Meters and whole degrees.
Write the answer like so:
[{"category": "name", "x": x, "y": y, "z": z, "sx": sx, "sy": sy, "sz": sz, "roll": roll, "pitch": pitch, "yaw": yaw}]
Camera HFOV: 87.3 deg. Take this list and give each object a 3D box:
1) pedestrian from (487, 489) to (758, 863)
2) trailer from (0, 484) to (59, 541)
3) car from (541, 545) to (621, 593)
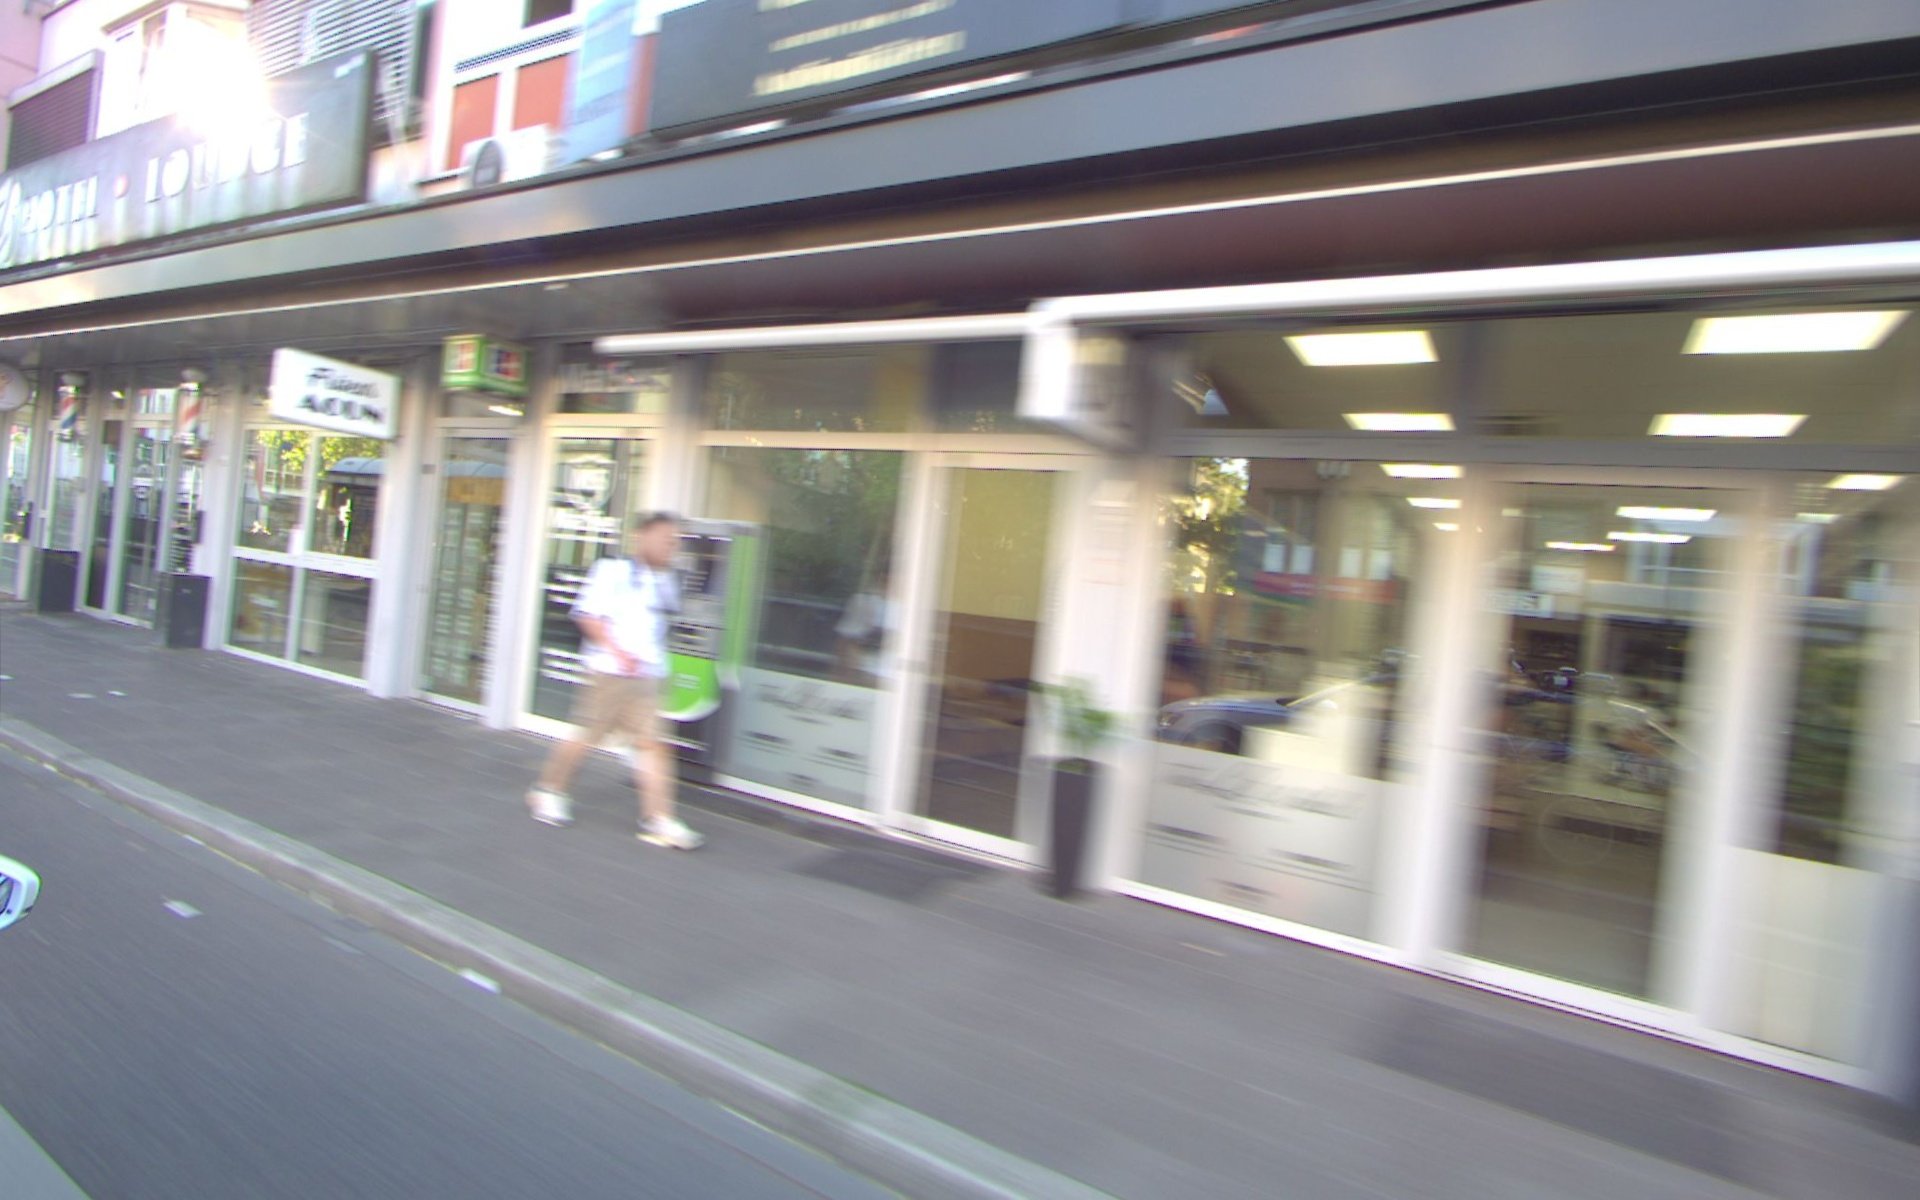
[{"category": "pedestrian", "x": -1.783, "y": 0.341, "z": 5.326, "sx": 1.044, "sy": 1.746, "sz": 0.798, "roll": 6, "pitch": 3, "yaw": 33}, {"category": "trailer", "x": -33.448, "y": -3.126, "z": 35.661, "sx": 1.961, "sy": 1.754, "sz": 3.884, "roll": 6, "pitch": 0, "yaw": -45}, {"category": "car", "x": -18.558, "y": -1.541, "z": 49.170, "sx": 1.960, "sy": 1.962, "sz": 4.589, "roll": 8, "pitch": -2, "yaw": -41}]
